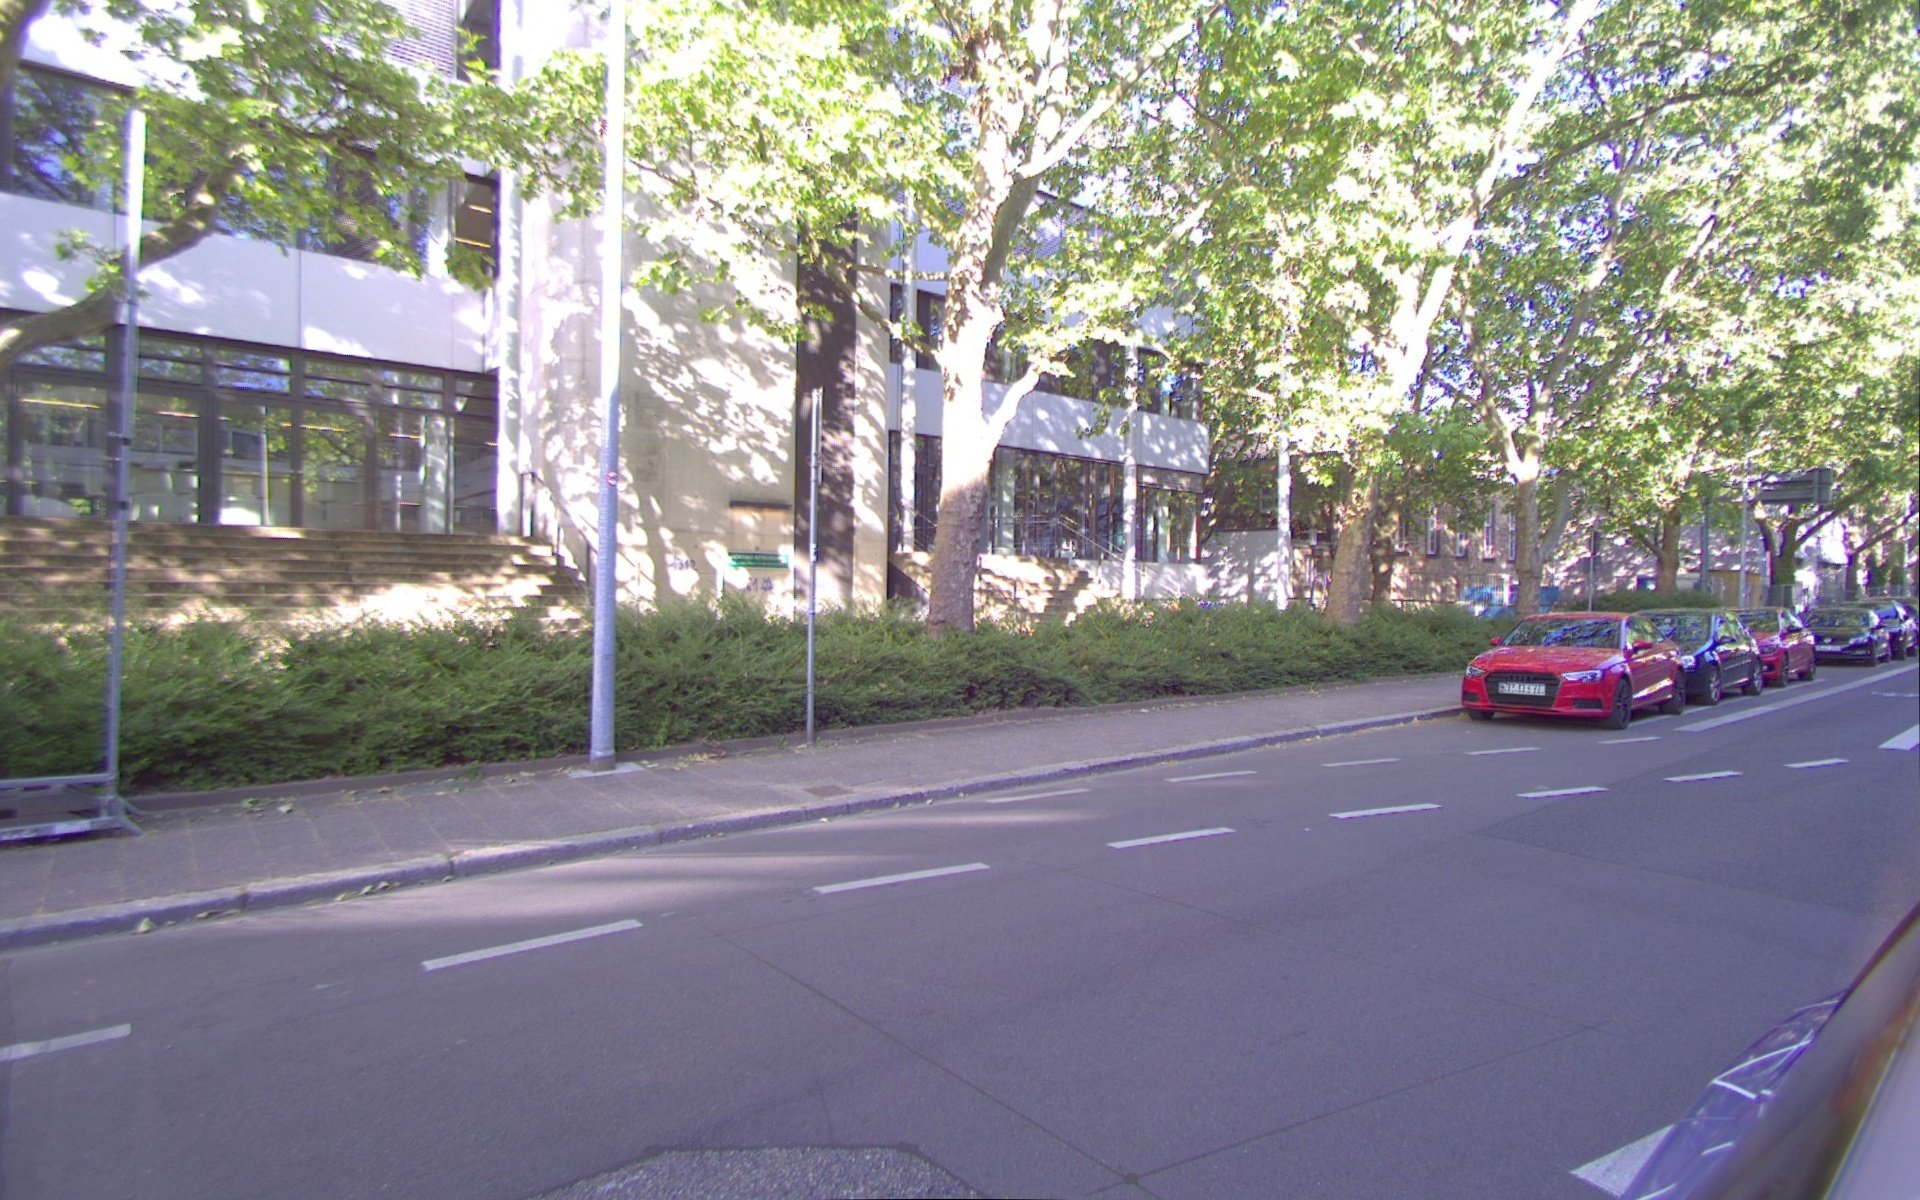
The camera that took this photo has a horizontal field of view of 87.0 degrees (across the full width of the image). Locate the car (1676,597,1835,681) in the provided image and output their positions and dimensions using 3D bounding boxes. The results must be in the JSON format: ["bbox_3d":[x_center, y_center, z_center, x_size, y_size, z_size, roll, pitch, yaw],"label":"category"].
[{"bbox_3d":[15.867,0.697,20.111,4.092,1.502,1.815,0,-1,-42],"label":"car"}]

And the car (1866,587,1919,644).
[{"bbox_3d":[31.064,0.484,33.019,4.271,1.777,1.788,0,-1,-42],"label":"car"}]

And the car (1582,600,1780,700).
[{"bbox_3d":[11.961,0.735,16.690,4.092,1.431,1.815,0,-1,-42],"label":"car"}]

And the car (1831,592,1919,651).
[{"bbox_3d":[26.604,0.585,29.136,4.092,1.573,1.788,0,-1,-42],"label":"car"}]

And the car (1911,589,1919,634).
[{"bbox_3d":[39.634,0.433,40.405,4.475,1.777,2.040,0,-1,-42],"label":"car"}]

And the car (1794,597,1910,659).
[{"bbox_3d":[23.058,0.675,26.105,4.092,1.478,1.788,0,-1,-42],"label":"car"}]

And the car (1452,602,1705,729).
[{"bbox_3d":[8.368,0.750,13.551,4.092,1.431,1.815,0,-1,-42],"label":"car"}]

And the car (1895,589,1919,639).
[{"bbox_3d":[35.917,0.479,37.255,4.475,1.777,1.788,0,-1,-42],"label":"car"}]
